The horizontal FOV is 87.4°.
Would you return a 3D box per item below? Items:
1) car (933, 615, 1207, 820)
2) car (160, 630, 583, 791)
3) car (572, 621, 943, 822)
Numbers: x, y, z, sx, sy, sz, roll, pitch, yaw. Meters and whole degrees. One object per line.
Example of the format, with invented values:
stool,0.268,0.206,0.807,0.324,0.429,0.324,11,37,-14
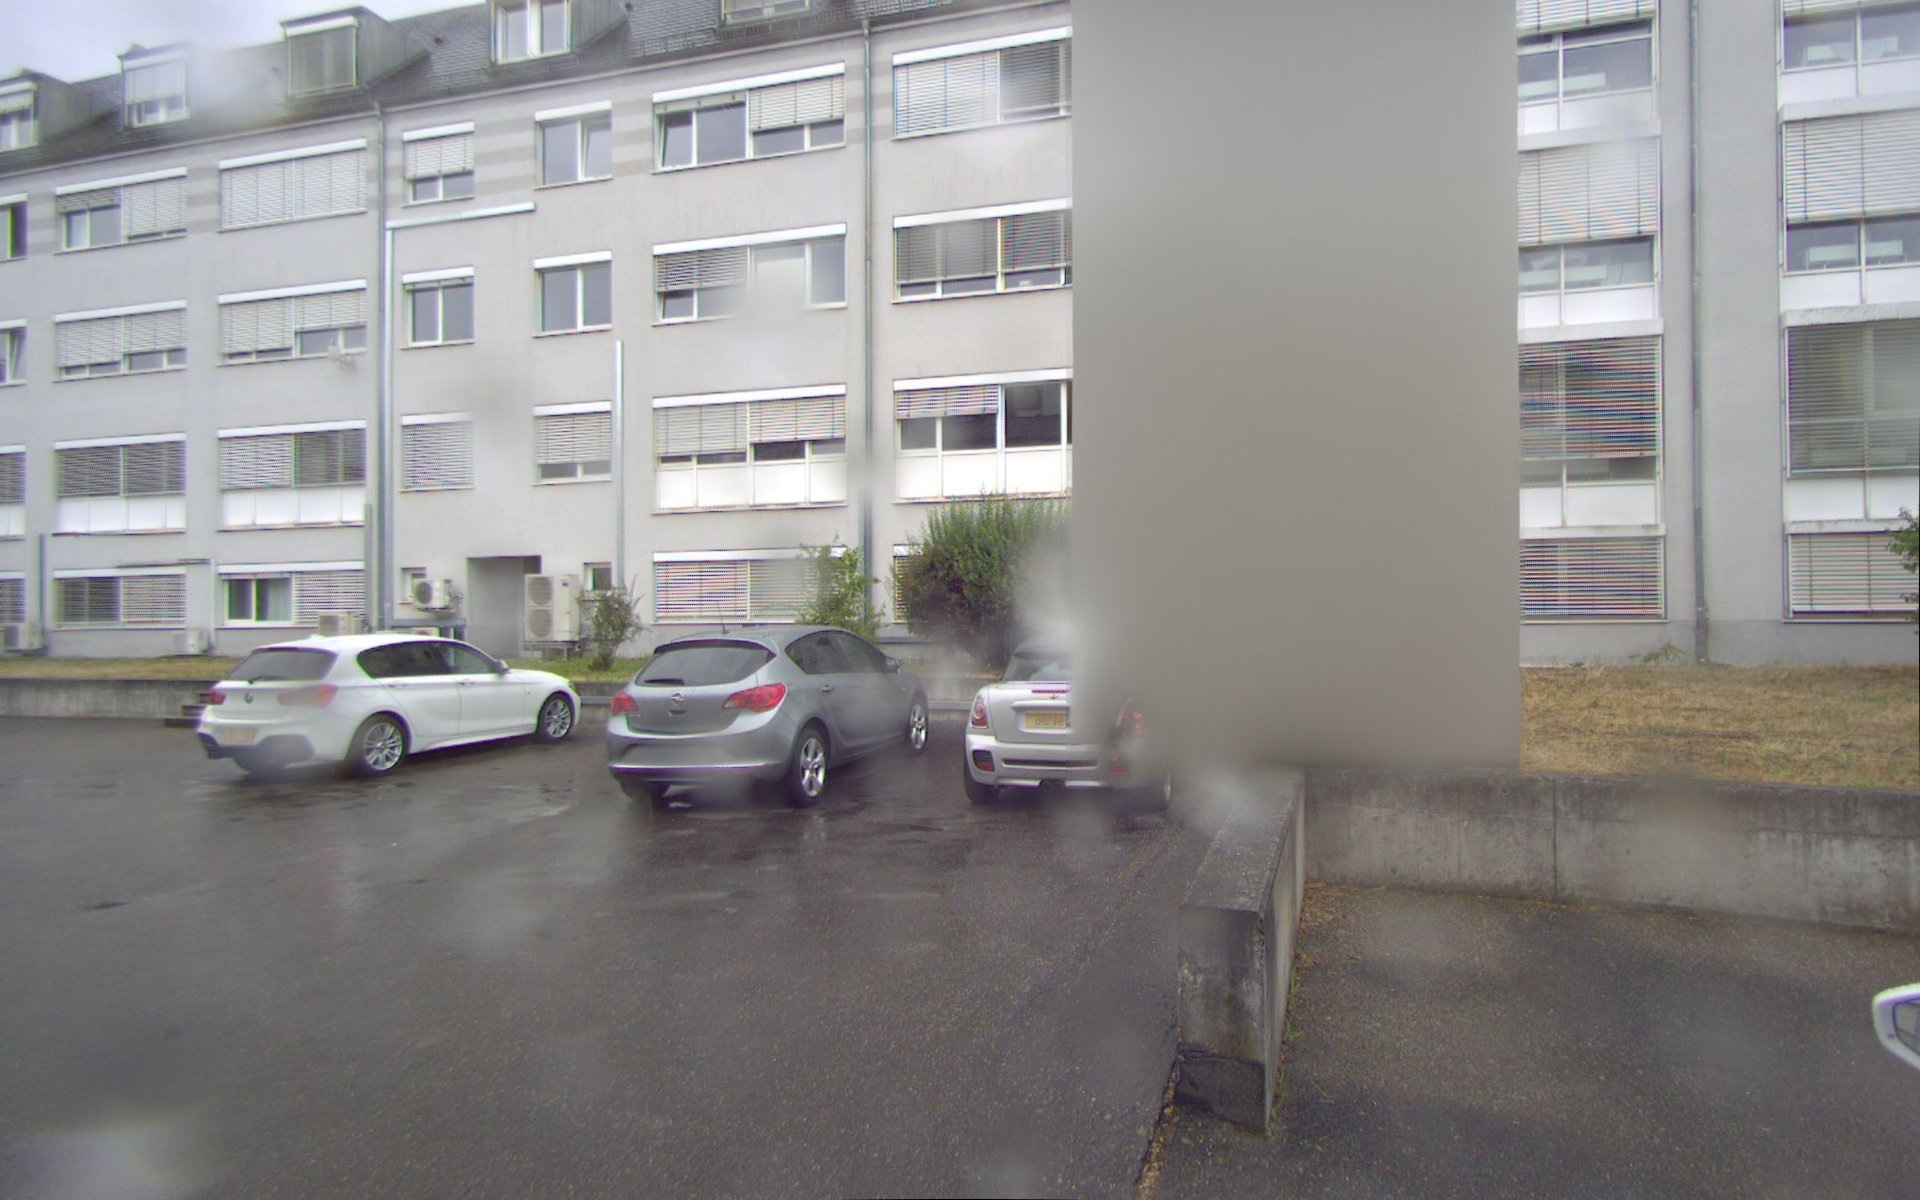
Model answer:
car,1.292,0.923,9.665,1.786,1.351,4.179,-2,1,18
car,-6.404,1.092,11.567,1.718,1.452,4.154,0,-1,16
car,-1.650,0.973,9.787,1.786,1.503,4.181,-2,-1,16
